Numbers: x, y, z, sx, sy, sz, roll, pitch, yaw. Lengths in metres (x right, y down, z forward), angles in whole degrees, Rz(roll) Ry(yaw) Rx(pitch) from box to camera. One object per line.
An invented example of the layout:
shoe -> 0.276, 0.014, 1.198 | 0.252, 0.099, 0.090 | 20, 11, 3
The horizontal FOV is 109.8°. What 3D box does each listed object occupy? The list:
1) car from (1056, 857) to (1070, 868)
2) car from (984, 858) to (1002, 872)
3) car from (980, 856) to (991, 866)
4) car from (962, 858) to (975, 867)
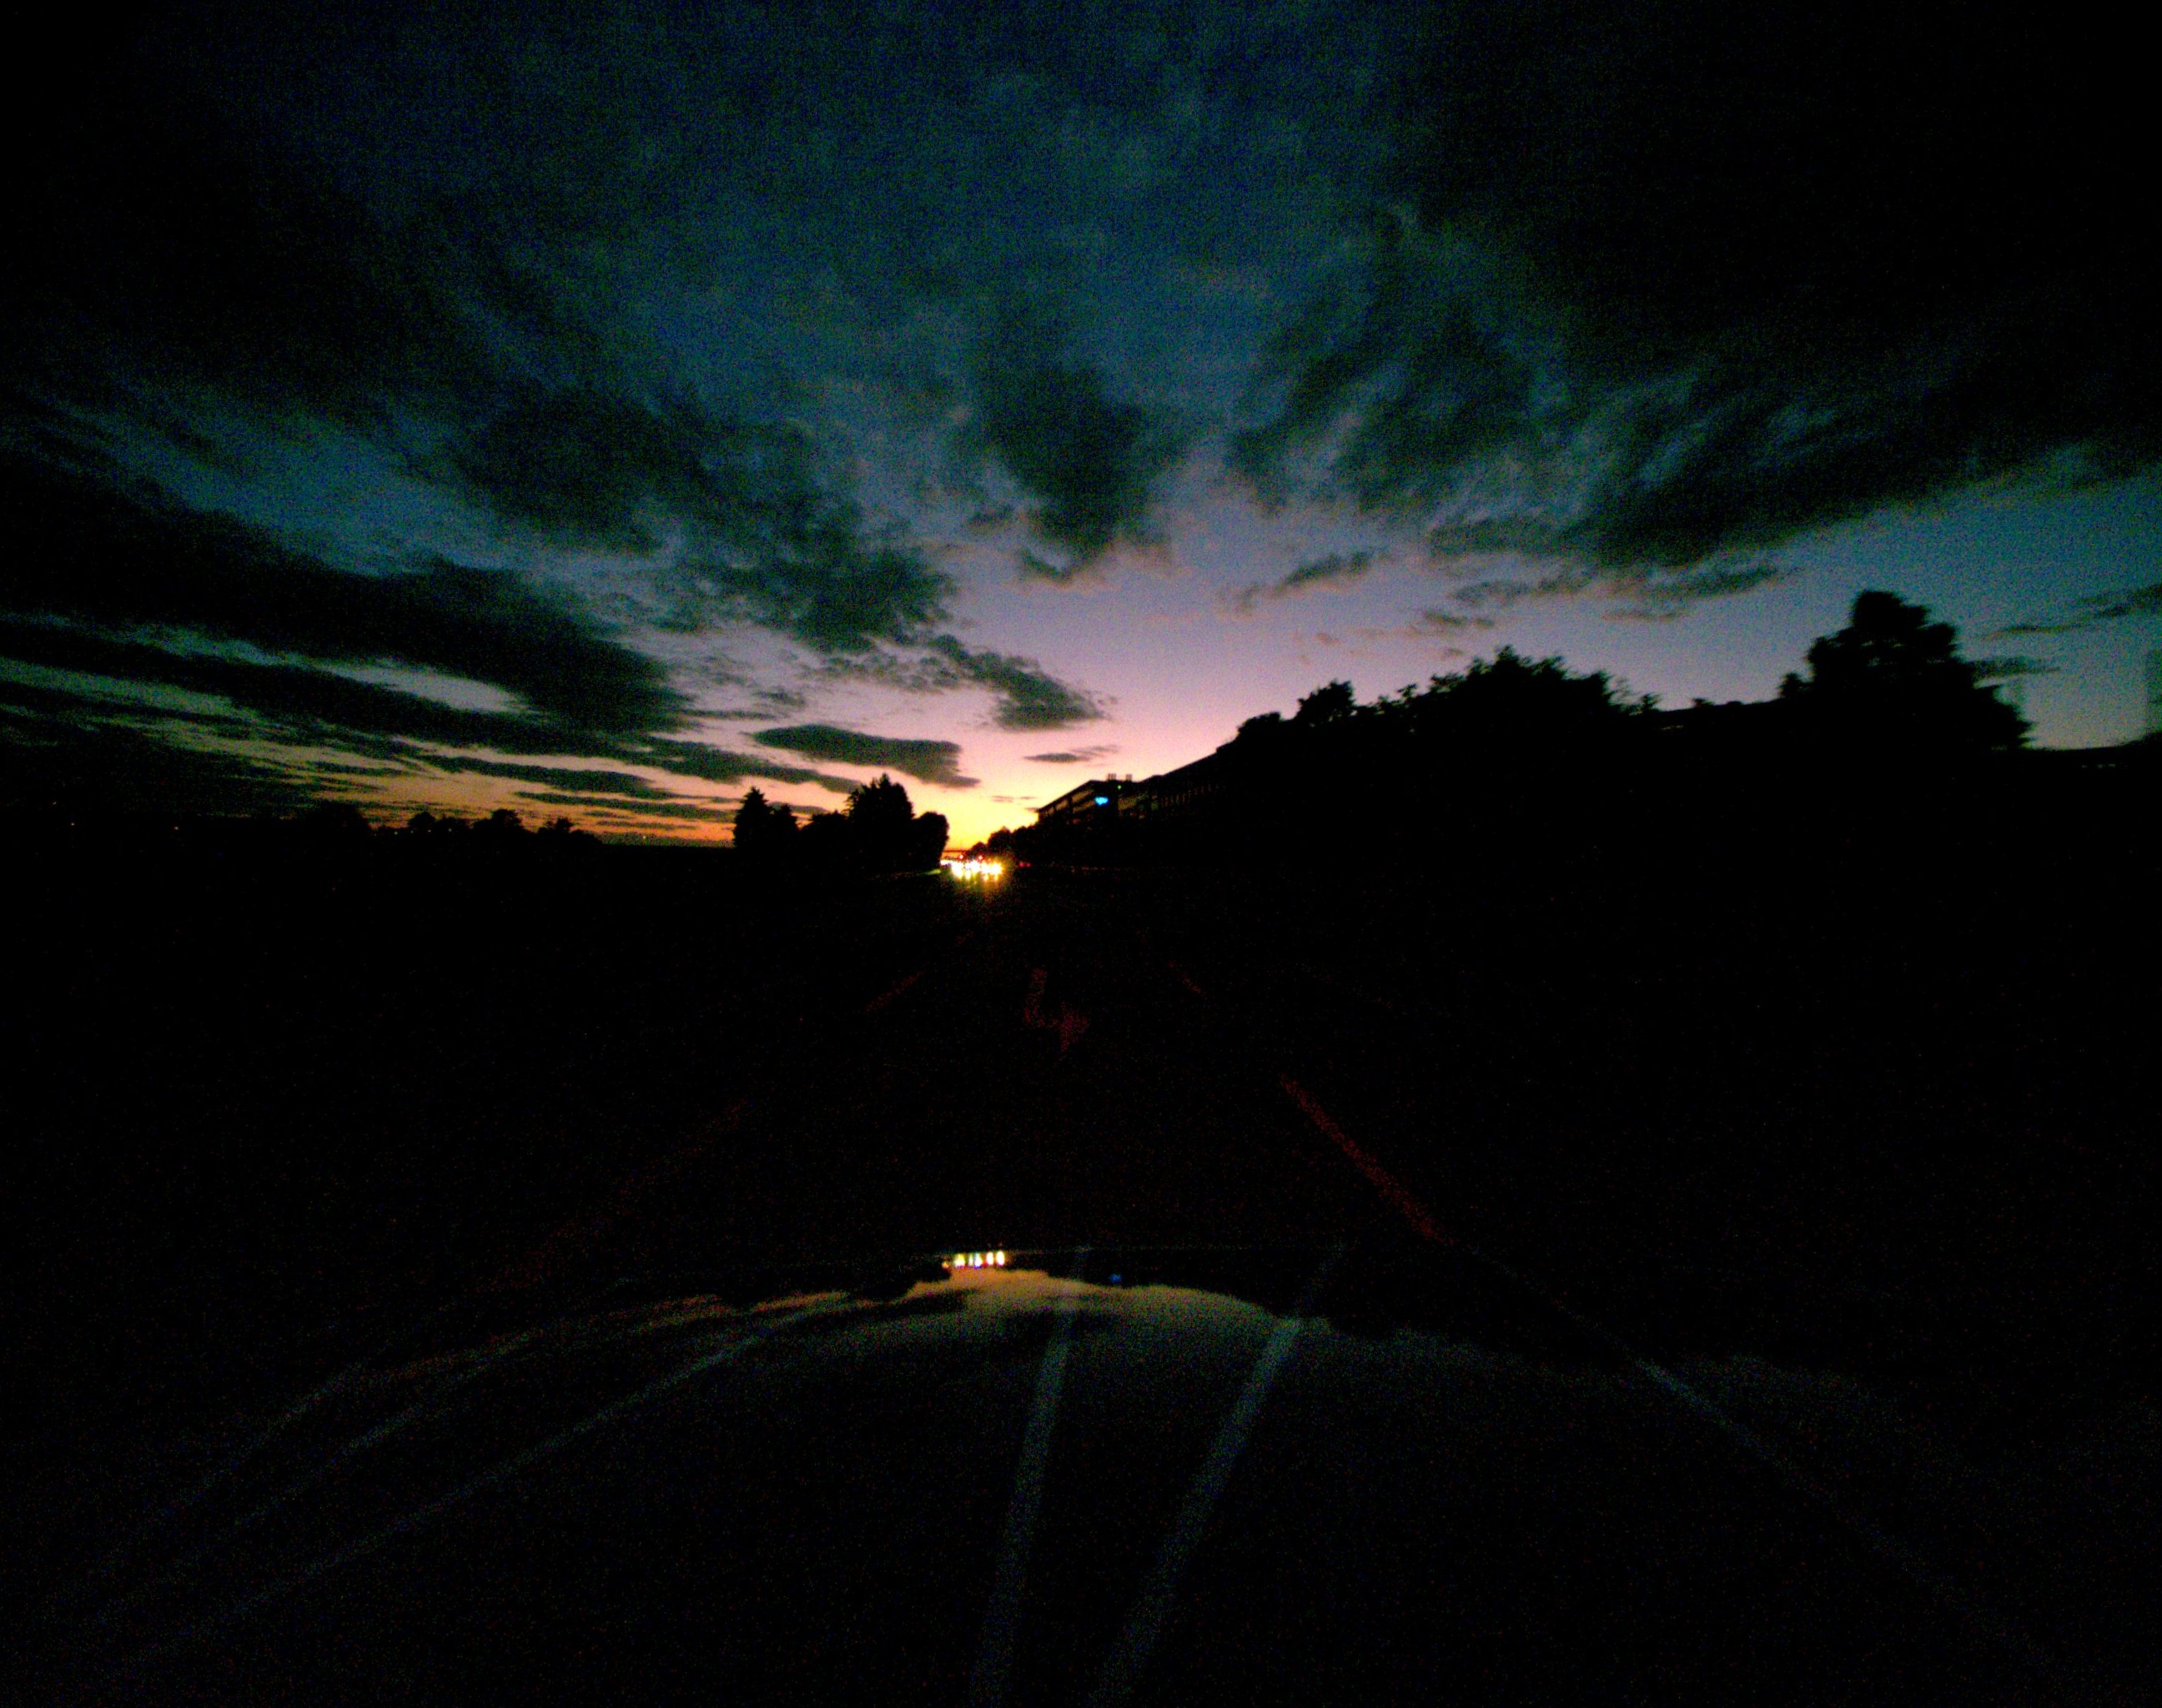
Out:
car -> -2.886, 1.323, 120.036 | 1.706, 1.613, 4.304 | -1, 0, -9
car -> -10.031, 1.234, 86.424 | 1.757, 1.447, 3.800 | -1, 0, -9
car -> -19.227, 1.418, 152.536 | 1.862, 2.002, 3.999 | -2, 0, -3
car -> -20.192, 1.514, 136.322 | 1.999, 1.574, 3.999 | -2, 0, -3
